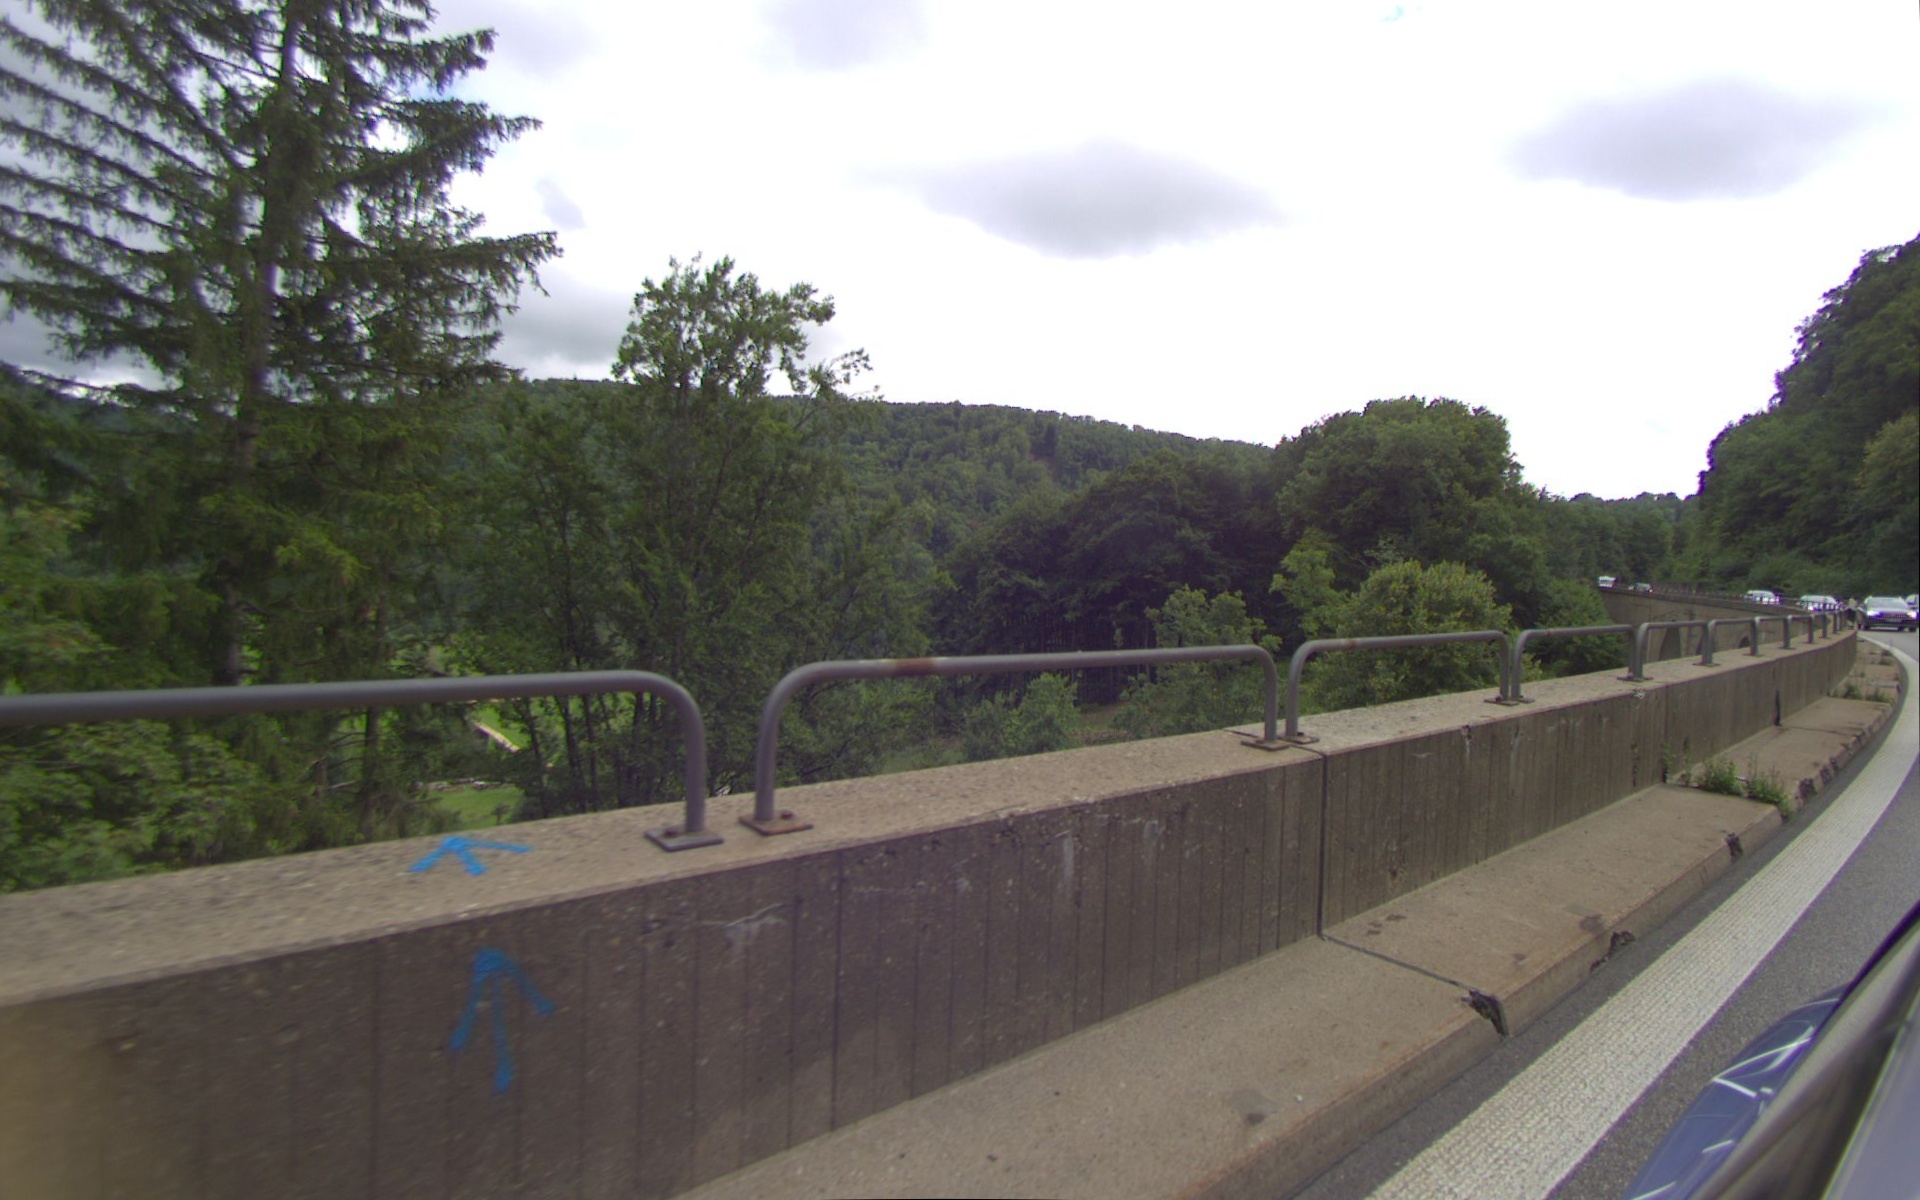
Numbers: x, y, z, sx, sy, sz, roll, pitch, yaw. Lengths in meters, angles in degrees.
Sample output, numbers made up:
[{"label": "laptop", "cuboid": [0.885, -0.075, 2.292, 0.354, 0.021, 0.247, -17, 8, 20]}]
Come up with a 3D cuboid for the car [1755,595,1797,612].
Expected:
[{"label": "car", "cuboid": [65.151, 0.277, 80.846, 1.871, 1.336, 3.961, 0, 1, 28]}]

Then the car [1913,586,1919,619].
[{"label": "car", "cuboid": [48.592, 0.124, 49.581, 1.986, 1.652, 4.947, 0, 1, 34]}]

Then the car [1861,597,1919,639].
[{"label": "car", "cuboid": [41.065, 0.754, 44.365, 1.954, 1.727, 3.948, 0, 0, 36]}]

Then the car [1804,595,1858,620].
[{"label": "car", "cuboid": [49.286, 0.413, 57.356, 1.876, 1.336, 3.951, 0, 1, 34]}]
